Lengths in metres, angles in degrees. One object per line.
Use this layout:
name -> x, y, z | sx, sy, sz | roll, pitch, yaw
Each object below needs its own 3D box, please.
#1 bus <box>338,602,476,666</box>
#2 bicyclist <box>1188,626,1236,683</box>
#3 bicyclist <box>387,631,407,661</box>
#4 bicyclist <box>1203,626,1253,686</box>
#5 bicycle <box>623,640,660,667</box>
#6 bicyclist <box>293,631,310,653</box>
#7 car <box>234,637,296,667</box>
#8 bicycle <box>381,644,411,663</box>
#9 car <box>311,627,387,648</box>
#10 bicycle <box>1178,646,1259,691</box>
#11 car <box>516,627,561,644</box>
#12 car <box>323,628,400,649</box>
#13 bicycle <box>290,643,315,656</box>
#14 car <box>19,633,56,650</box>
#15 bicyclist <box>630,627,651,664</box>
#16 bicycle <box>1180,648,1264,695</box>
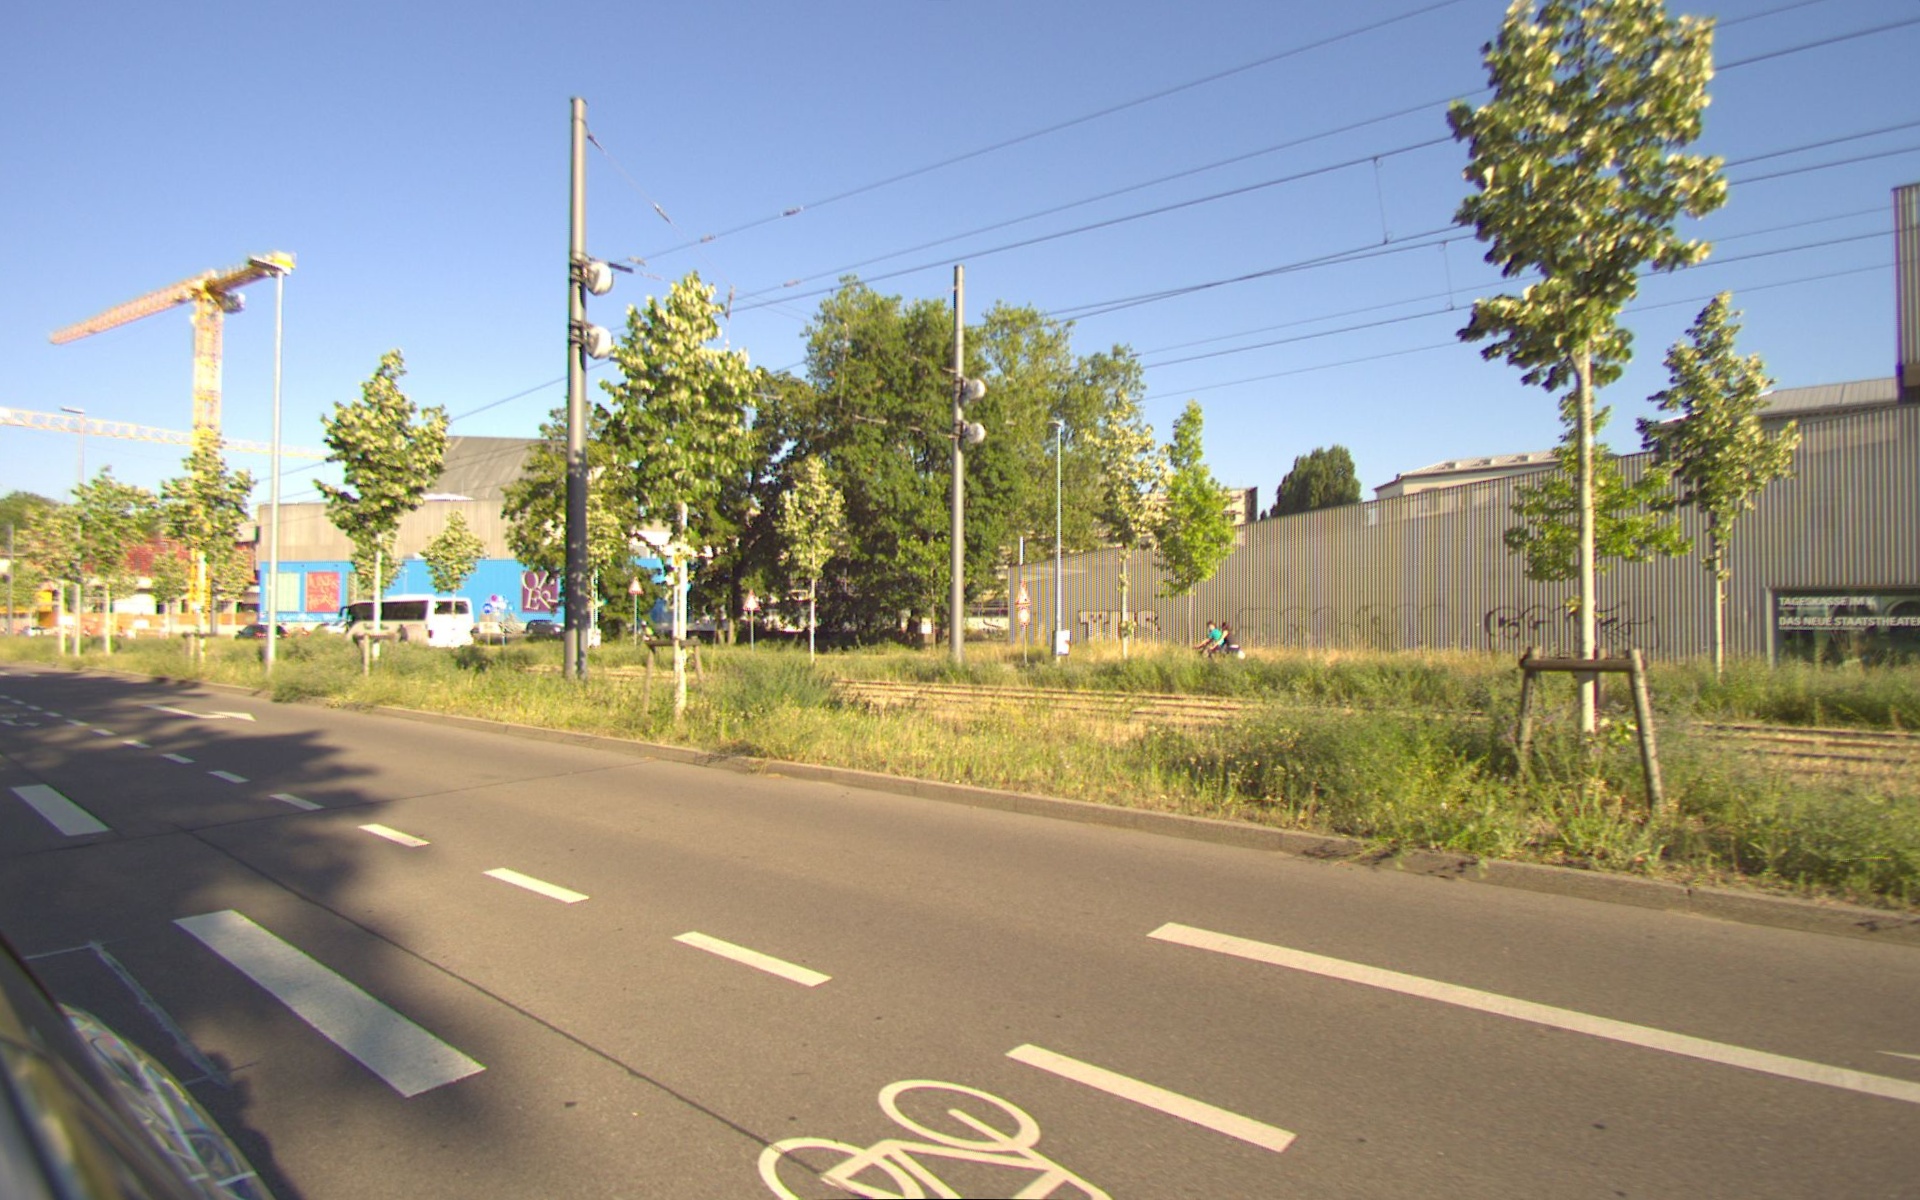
bus -> -34.227, 2.075, 62.277 | 12.681, 3.622, 2.772 | -2, -2, 38
bicyclist -> 6.599, 1.424, 26.520 | 1.075, 1.453, 0.577 | -2, -2, 41
bicyclist -> -31.703, 2.582, 56.947 | 0.953, 1.721, 0.680 | -2, -3, 40
bicyclist -> 6.715, 1.396, 25.369 | 1.075, 1.453, 0.577 | -2, -2, 41
bicycle -> -13.374, 2.232, 42.455 | 1.897, 1.068, 0.553 | -2, -2, 41
bicyclist -> -42.672, 2.720, 65.607 | 0.870, 1.357, 0.681 | -2, -3, 38
car -> -42.463, 3.126, 61.784 | 4.808, 1.779, 1.852 | -2, -2, 39
bicycle -> -31.756, 3.019, 56.985 | 2.359, 1.010, 0.680 | -2, -3, 40
car -> -52.622, 3.211, 87.234 | 2.121, 1.730, 5.179 | -1, -2, 36
bicycle -> 6.719, 1.777, 26.405 | 1.986, 1.113, 0.577 | -2, -2, 41
car -> -42.798, 3.607, 102.836 | 4.182, 1.648, 1.406 | -1, -2, 13
car -> -50.495, 3.212, 85.446 | 2.121, 1.730, 5.179 | -1, -2, 36
bicycle -> -42.593, 3.219, 65.539 | 2.142, 0.810, 0.681 | -2, -2, 38
car -> -90.154, 4.055, 98.903 | 4.161, 1.655, 1.975 | -2, -2, 38
bicyclist -> -13.423, 1.901, 42.497 | 0.667, 1.518, 0.551 | -2, -3, 40
bicycle -> 6.586, 1.790, 25.496 | 1.986, 1.113, 0.577 | -2, -2, 41
